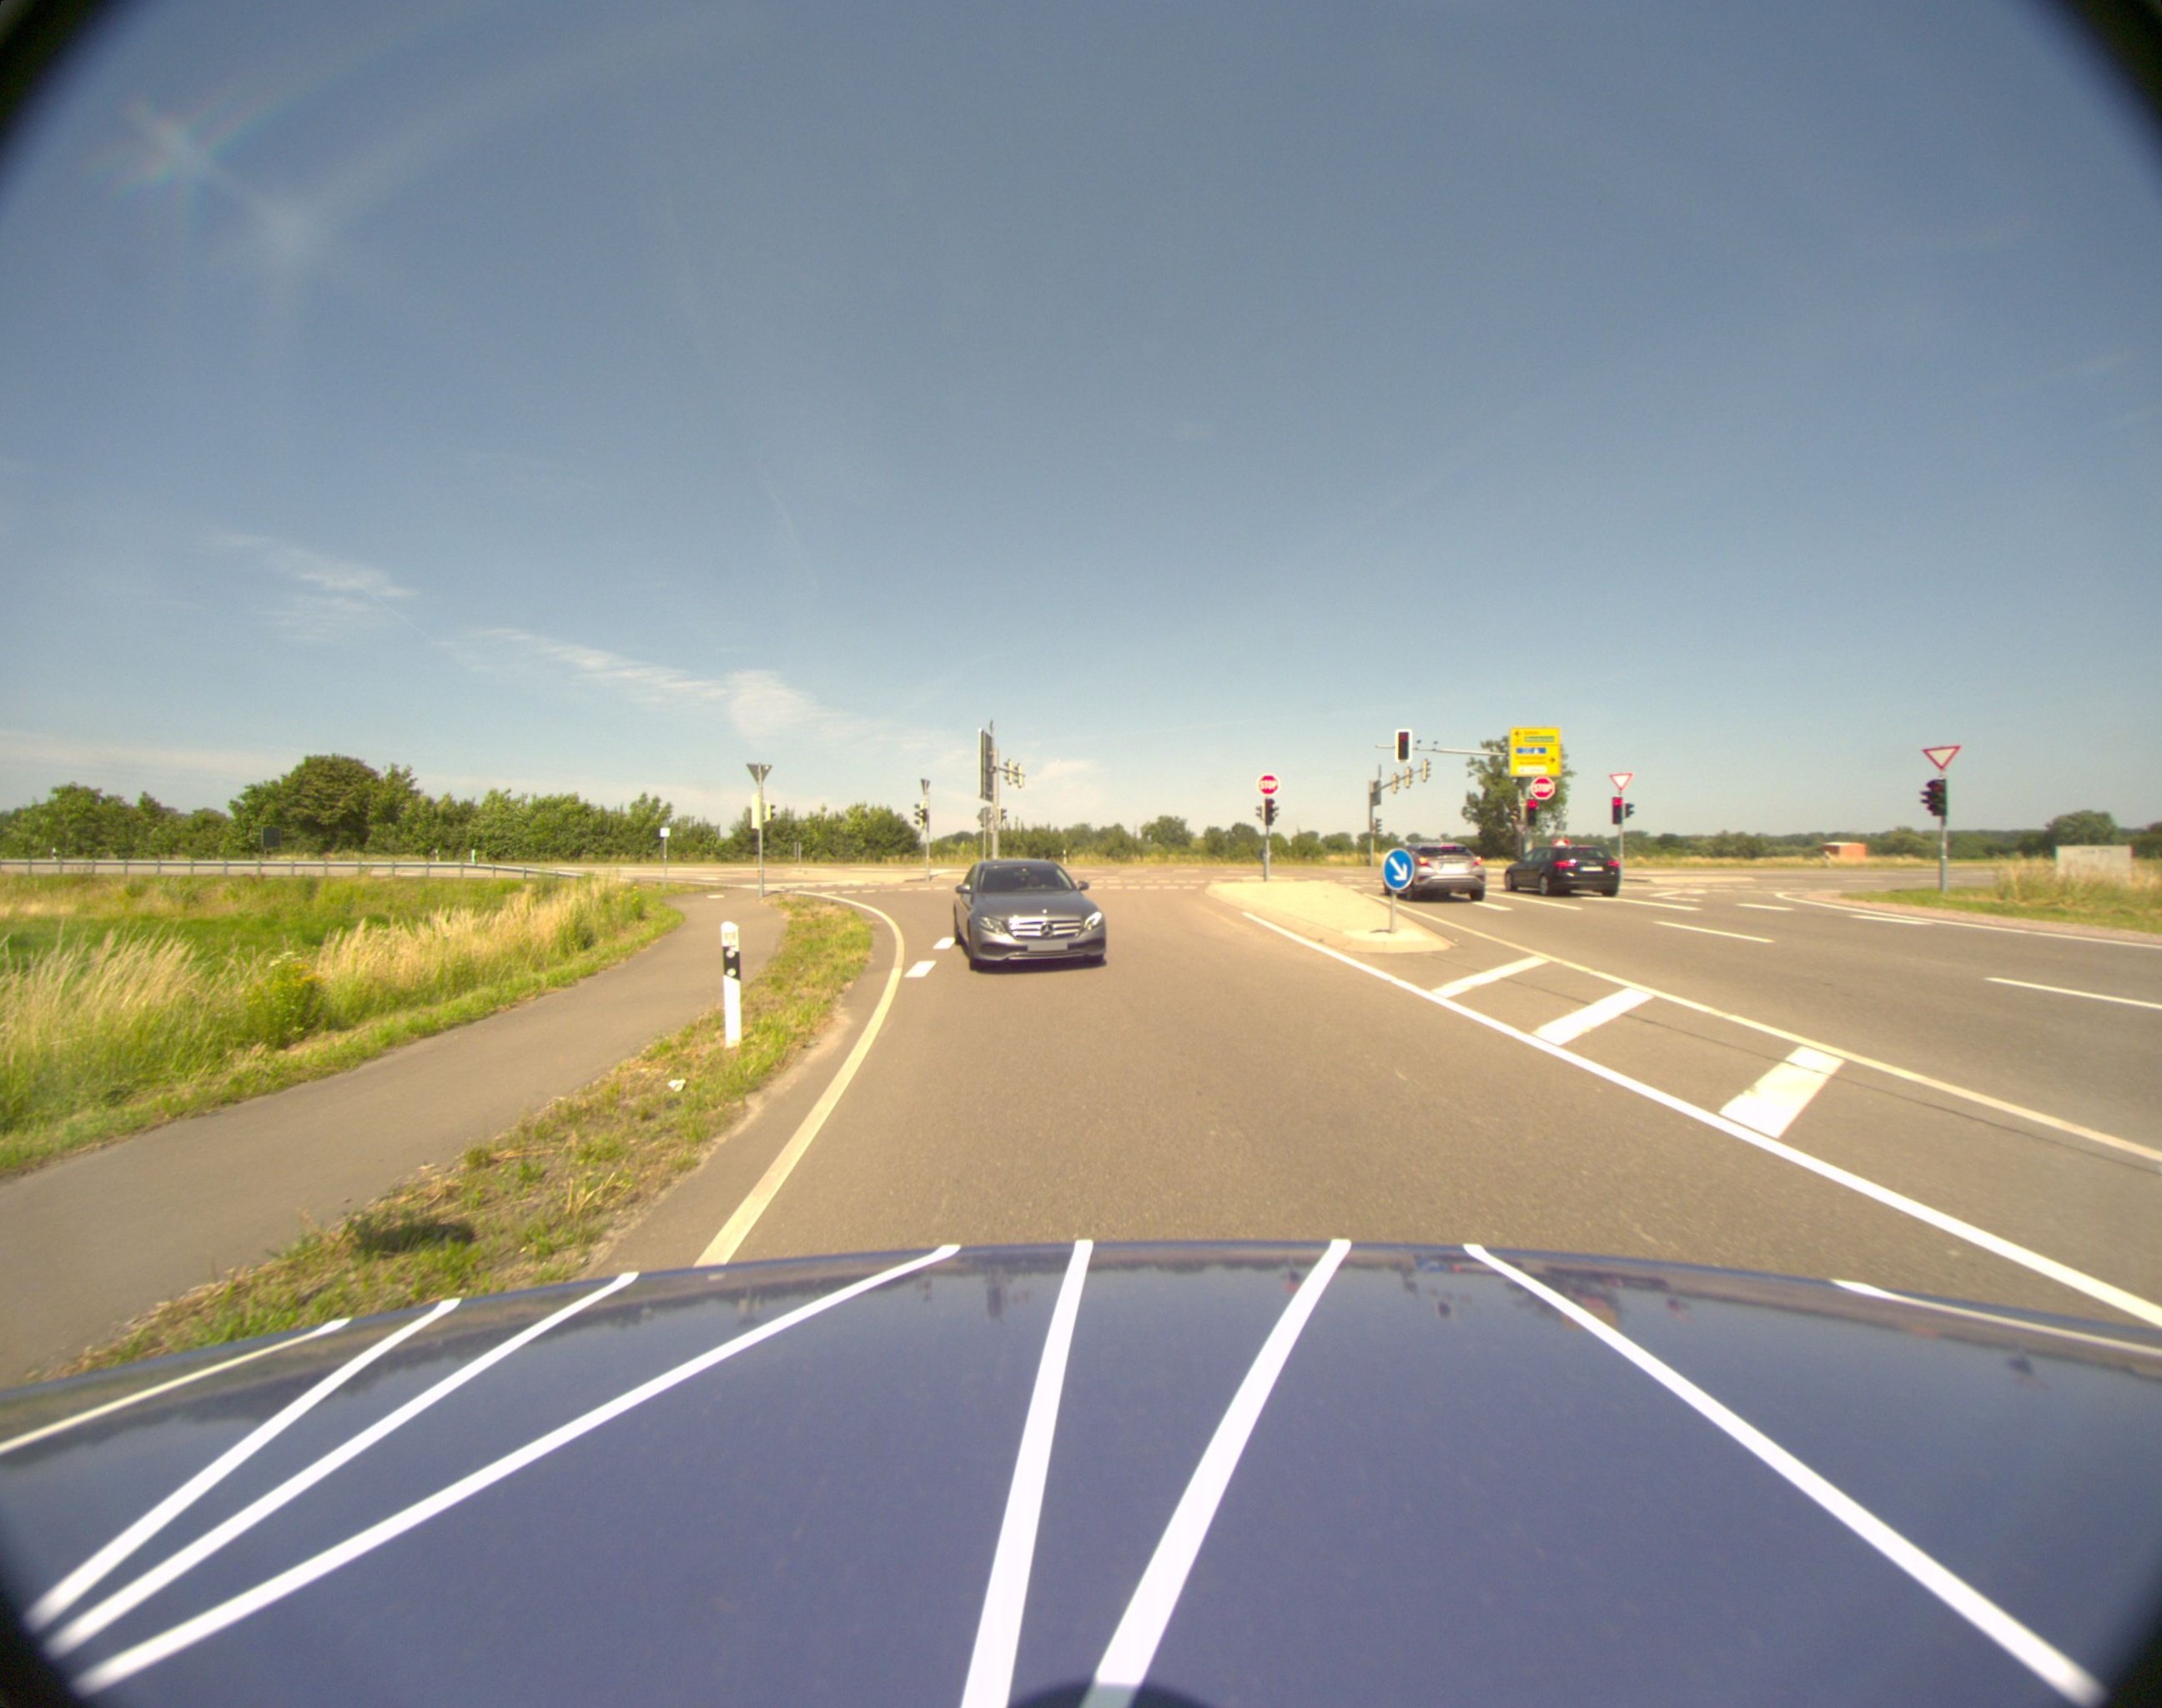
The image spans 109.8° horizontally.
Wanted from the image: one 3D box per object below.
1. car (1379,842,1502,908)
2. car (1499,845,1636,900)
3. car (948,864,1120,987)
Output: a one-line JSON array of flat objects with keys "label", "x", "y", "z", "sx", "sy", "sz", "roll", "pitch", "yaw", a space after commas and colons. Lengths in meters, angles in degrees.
[{"label": "car", "x": 9.534, "y": 0.479, "z": 20.544, "sx": 1.869, "sy": 1.535, "sz": 4.554, "roll": -1, "pitch": 1, "yaw": 10}, {"label": "car", "x": 13.577, "y": 0.490, "z": 21.514, "sx": 1.773, "sy": 1.360, "sz": 4.278, "roll": -1, "pitch": 0, "yaw": 11}, {"label": "car", "x": -0.964, "y": 0.928, "z": 11.942, "sx": 1.896, "sy": 1.439, "sz": 4.520, "roll": -1, "pitch": 0, "yaw": -14}]
